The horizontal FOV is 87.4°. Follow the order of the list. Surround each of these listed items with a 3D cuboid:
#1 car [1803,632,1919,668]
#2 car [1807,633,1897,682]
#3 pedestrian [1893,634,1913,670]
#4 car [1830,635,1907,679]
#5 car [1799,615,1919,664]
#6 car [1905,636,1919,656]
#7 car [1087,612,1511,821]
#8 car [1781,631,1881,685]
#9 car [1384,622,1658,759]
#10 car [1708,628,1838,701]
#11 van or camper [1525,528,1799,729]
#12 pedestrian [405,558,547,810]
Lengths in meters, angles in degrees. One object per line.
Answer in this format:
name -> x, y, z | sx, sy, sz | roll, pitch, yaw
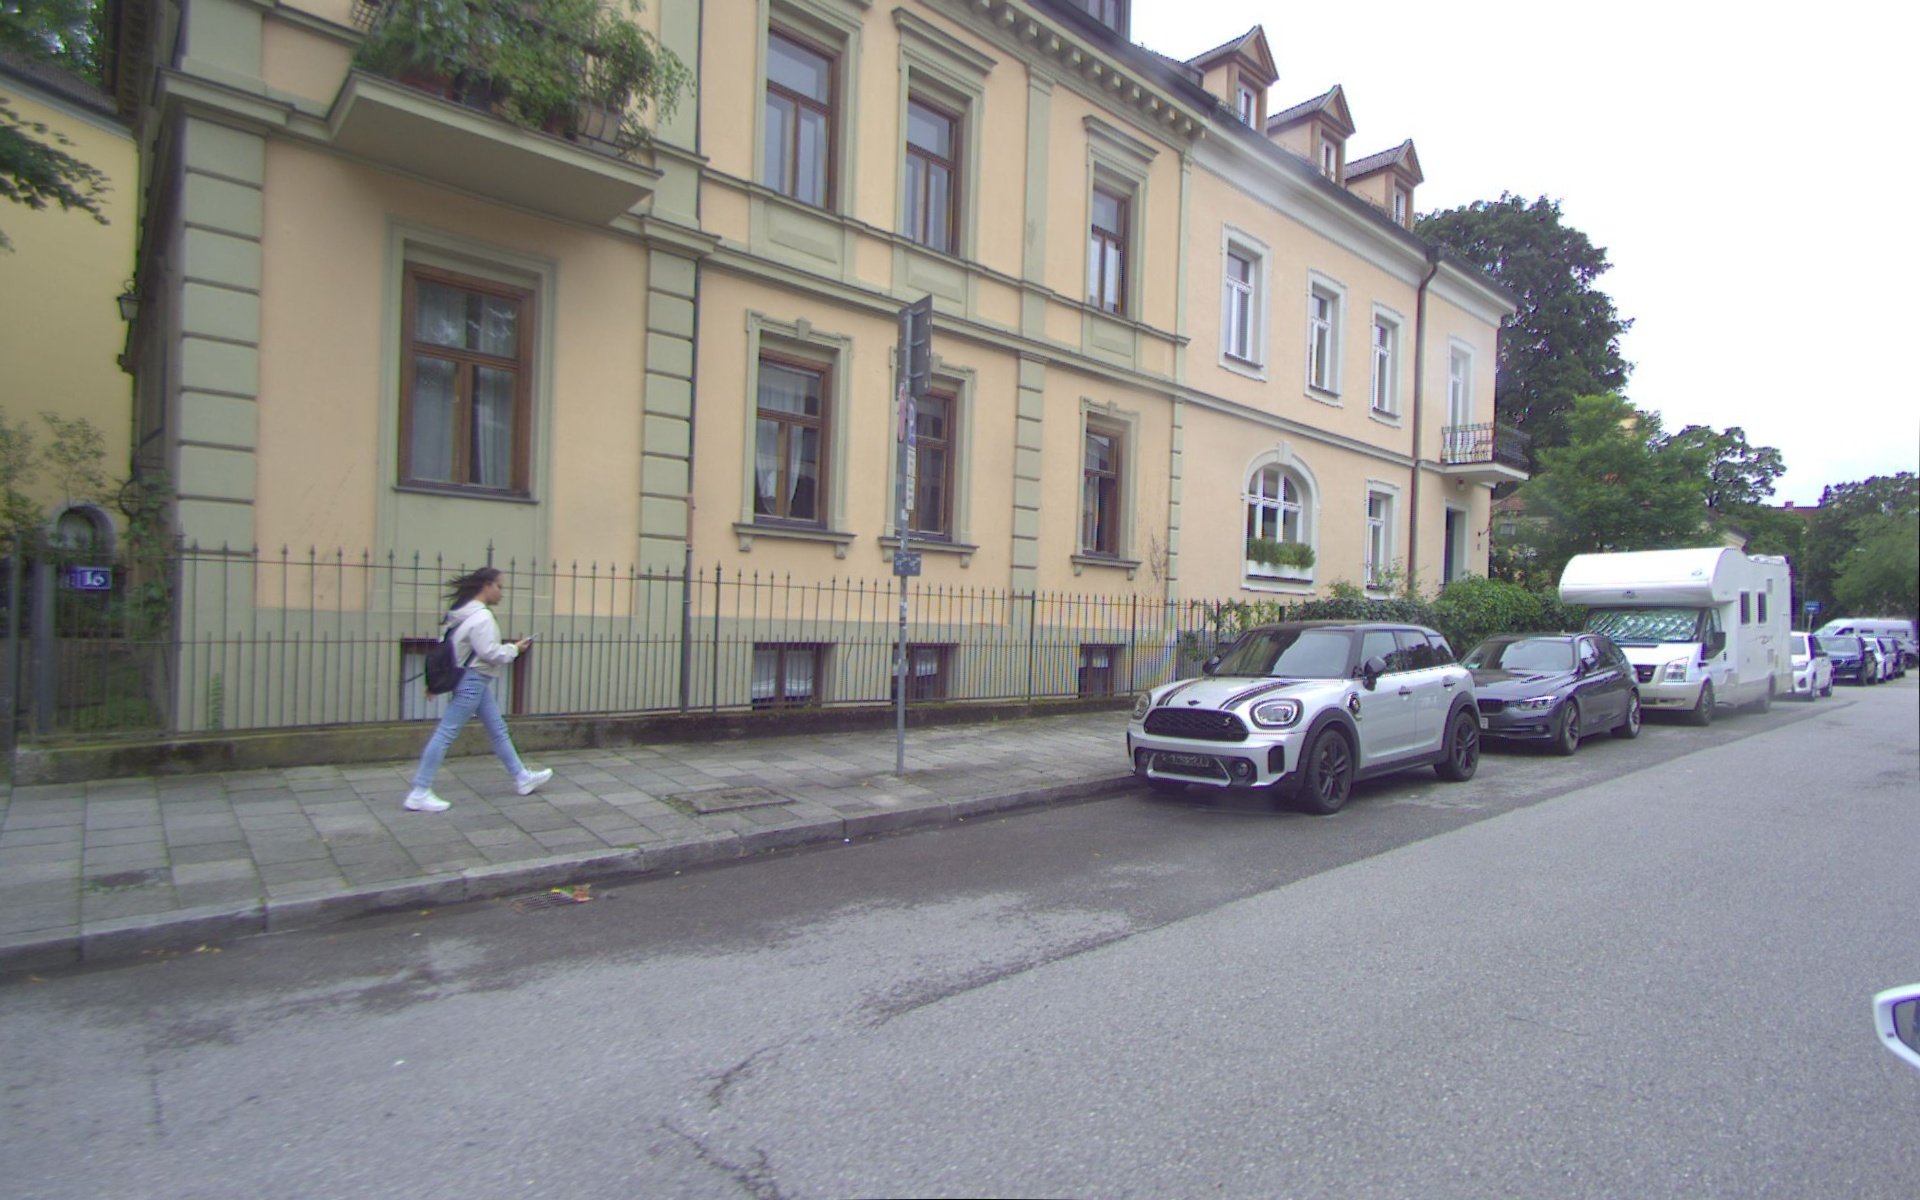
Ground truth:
car -> 43.722, 2.413, 48.575 | 4.272, 1.550, 1.928 | 1, -2, 35
car -> 30.564, 1.926, 34.387 | 4.488, 1.555, 1.828 | 2, -3, -42
pedestrian -> 43.918, 2.416, 46.799 | 0.582, 1.670, 0.711 | 1, 0, 38
car -> 34.145, 2.096, 37.703 | 4.531, 1.555, 1.827 | 2, -3, -44
car -> 50.815, 2.205, 56.831 | 4.543, 2.597, 2.235 | 1, -1, 14
car -> 85.447, 4.080, 88.262 | 1.962, 1.734, 4.881 | 0, -1, 25
car -> 3.431, 0.951, 9.710 | 4.496, 1.555, 1.919 | 2, -3, -42
car -> 27.044, 1.772, 31.147 | 4.409, 1.555, 1.828 | 3, -3, -42
car -> 7.743, 1.106, 13.630 | 4.788, 1.528, 1.917 | 2, -3, -44
car -> 18.988, 1.447, 23.398 | 4.197, 1.555, 1.762 | 2, -3, -43
van or camper -> 12.903, 0.532, 18.185 | 7.155, 2.979, 2.434 | 2, -2, -41
pedestrian -> -3.362, 0.543, 6.974 | 0.733, 1.625, 0.648 | 2, 1, -37
